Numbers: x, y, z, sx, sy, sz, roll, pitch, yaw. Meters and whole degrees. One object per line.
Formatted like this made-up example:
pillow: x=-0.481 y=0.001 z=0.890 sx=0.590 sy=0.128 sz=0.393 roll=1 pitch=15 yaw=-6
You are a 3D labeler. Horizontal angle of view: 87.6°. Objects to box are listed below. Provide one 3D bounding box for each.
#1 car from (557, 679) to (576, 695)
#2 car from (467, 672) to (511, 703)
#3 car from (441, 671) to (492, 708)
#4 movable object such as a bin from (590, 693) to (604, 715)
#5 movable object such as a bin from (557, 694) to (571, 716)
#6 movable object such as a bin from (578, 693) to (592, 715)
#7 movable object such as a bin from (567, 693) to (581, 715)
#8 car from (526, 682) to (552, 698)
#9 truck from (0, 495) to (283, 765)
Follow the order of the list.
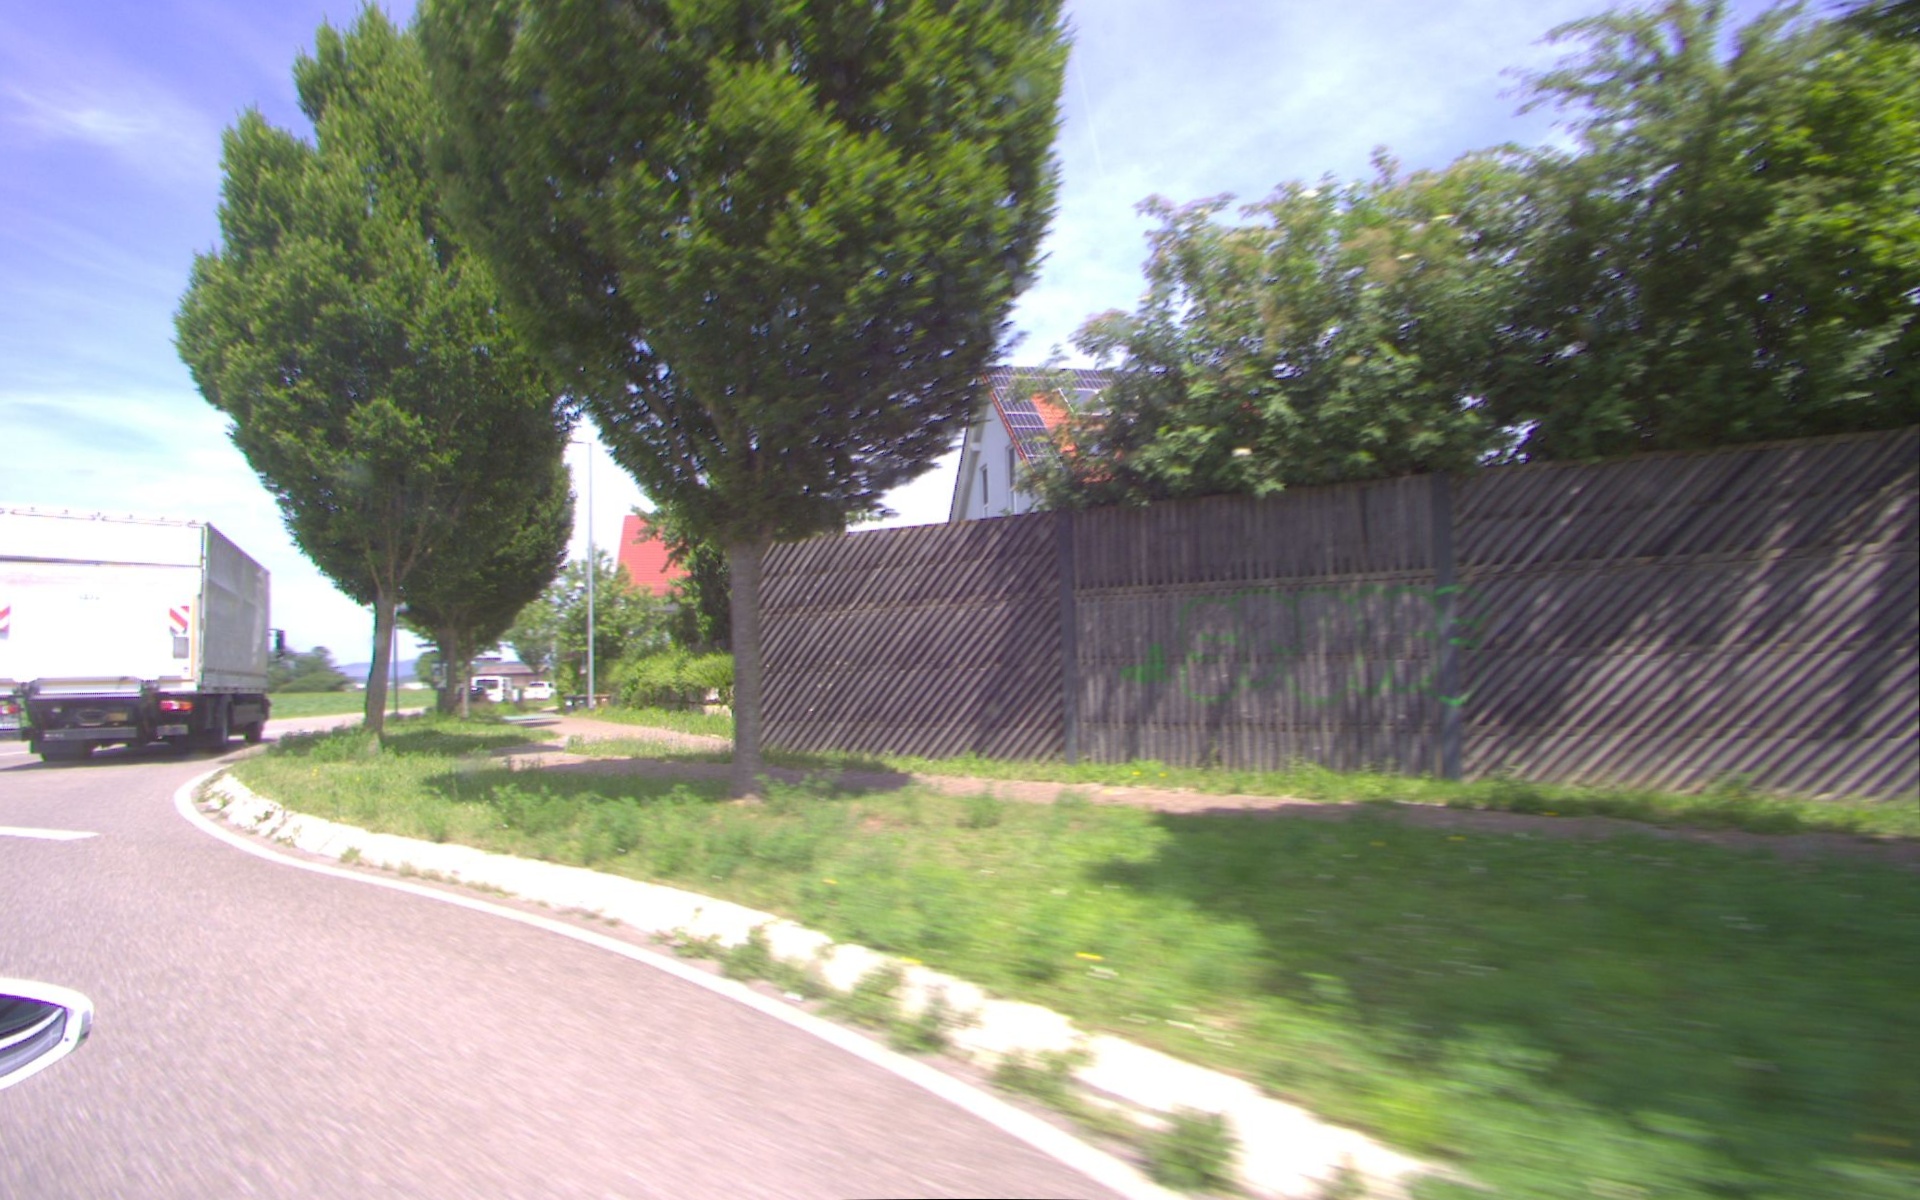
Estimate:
car: x=-34.944 y=7.722 z=88.920 sx=1.263 sy=1.377 sz=3.288 roll=-1 pitch=-5 yaw=-16
car: x=-28.026 y=5.180 z=59.709 sx=1.966 sy=1.737 sz=3.995 roll=0 pitch=-4 yaw=-20
car: x=-26.103 y=4.713 z=53.058 sx=1.966 sy=1.815 sz=3.995 roll=0 pitch=-4 yaw=-20
movable object such as a bin: x=-16.553 y=4.742 z=45.650 sx=0.432 sy=0.978 sz=0.499 roll=0 pitch=-3 yaw=1
movable object such as a bin: x=-18.045 y=4.769 z=45.647 sx=0.432 sy=0.978 sz=0.499 roll=0 pitch=-3 yaw=1
movable object such as a bin: x=-17.096 y=4.751 z=45.642 sx=0.432 sy=0.978 sz=0.499 roll=0 pitch=-3 yaw=1
movable object such as a bin: x=-17.576 y=4.761 z=45.647 sx=0.432 sy=0.978 sz=0.499 roll=0 pitch=-3 yaw=1
car: x=-32.243 y=6.865 z=76.709 sx=1.341 sy=1.150 sz=3.207 roll=0 pitch=-4 yaw=-14
truck: x=-14.594 y=0.750 z=18.352 sx=2.736 sy=3.715 sz=9.344 roll=2 pitch=-4 yaw=-29
